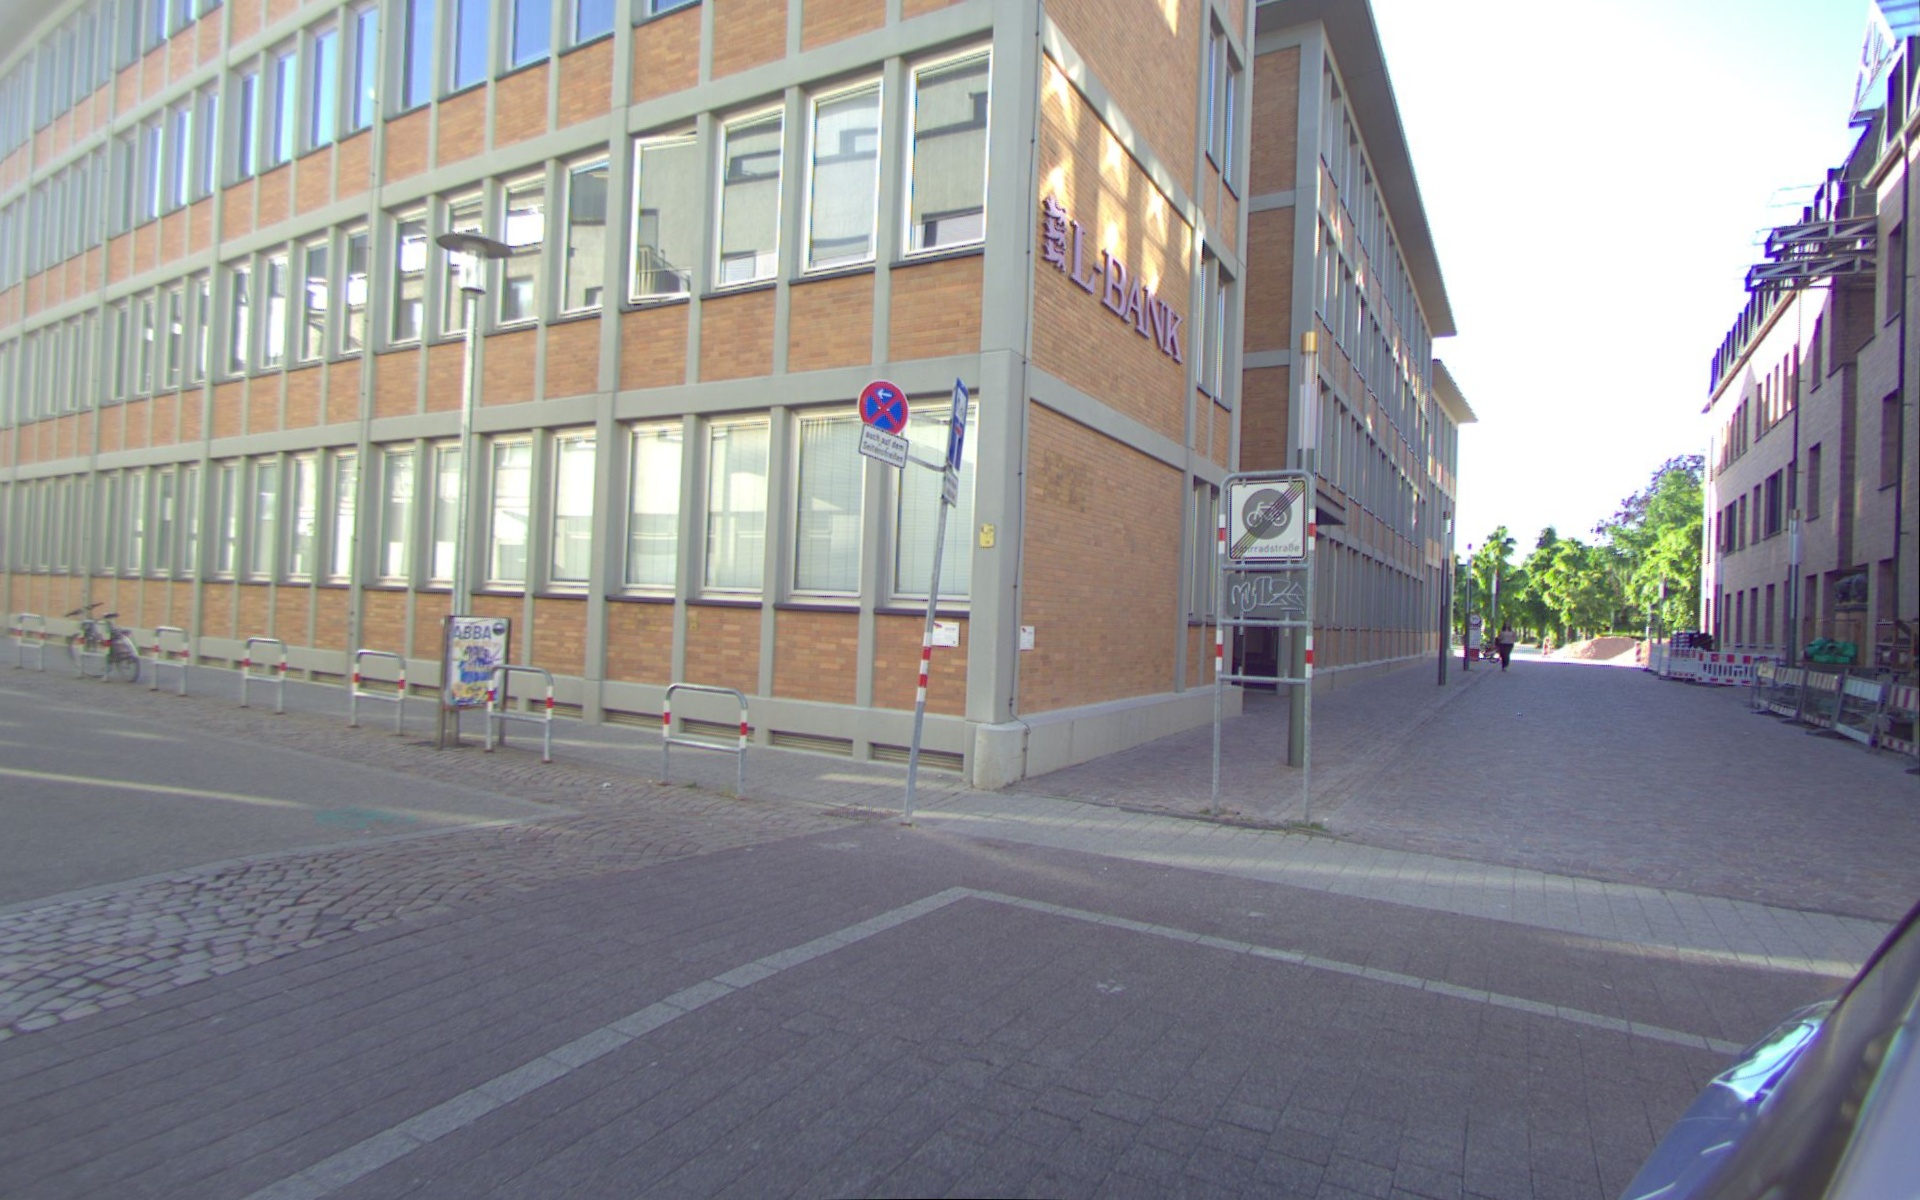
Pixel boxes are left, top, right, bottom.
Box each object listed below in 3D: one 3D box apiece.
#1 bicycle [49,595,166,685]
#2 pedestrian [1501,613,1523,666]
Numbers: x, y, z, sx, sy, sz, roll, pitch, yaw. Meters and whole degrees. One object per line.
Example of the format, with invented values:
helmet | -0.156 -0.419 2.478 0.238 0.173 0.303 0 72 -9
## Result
bicycle | -12.030 0.537 14.265 1.915 1.130 0.631 2 0 30
pedestrian | 19.435 1.408 35.636 0.633 1.809 0.645 2 -3 31
